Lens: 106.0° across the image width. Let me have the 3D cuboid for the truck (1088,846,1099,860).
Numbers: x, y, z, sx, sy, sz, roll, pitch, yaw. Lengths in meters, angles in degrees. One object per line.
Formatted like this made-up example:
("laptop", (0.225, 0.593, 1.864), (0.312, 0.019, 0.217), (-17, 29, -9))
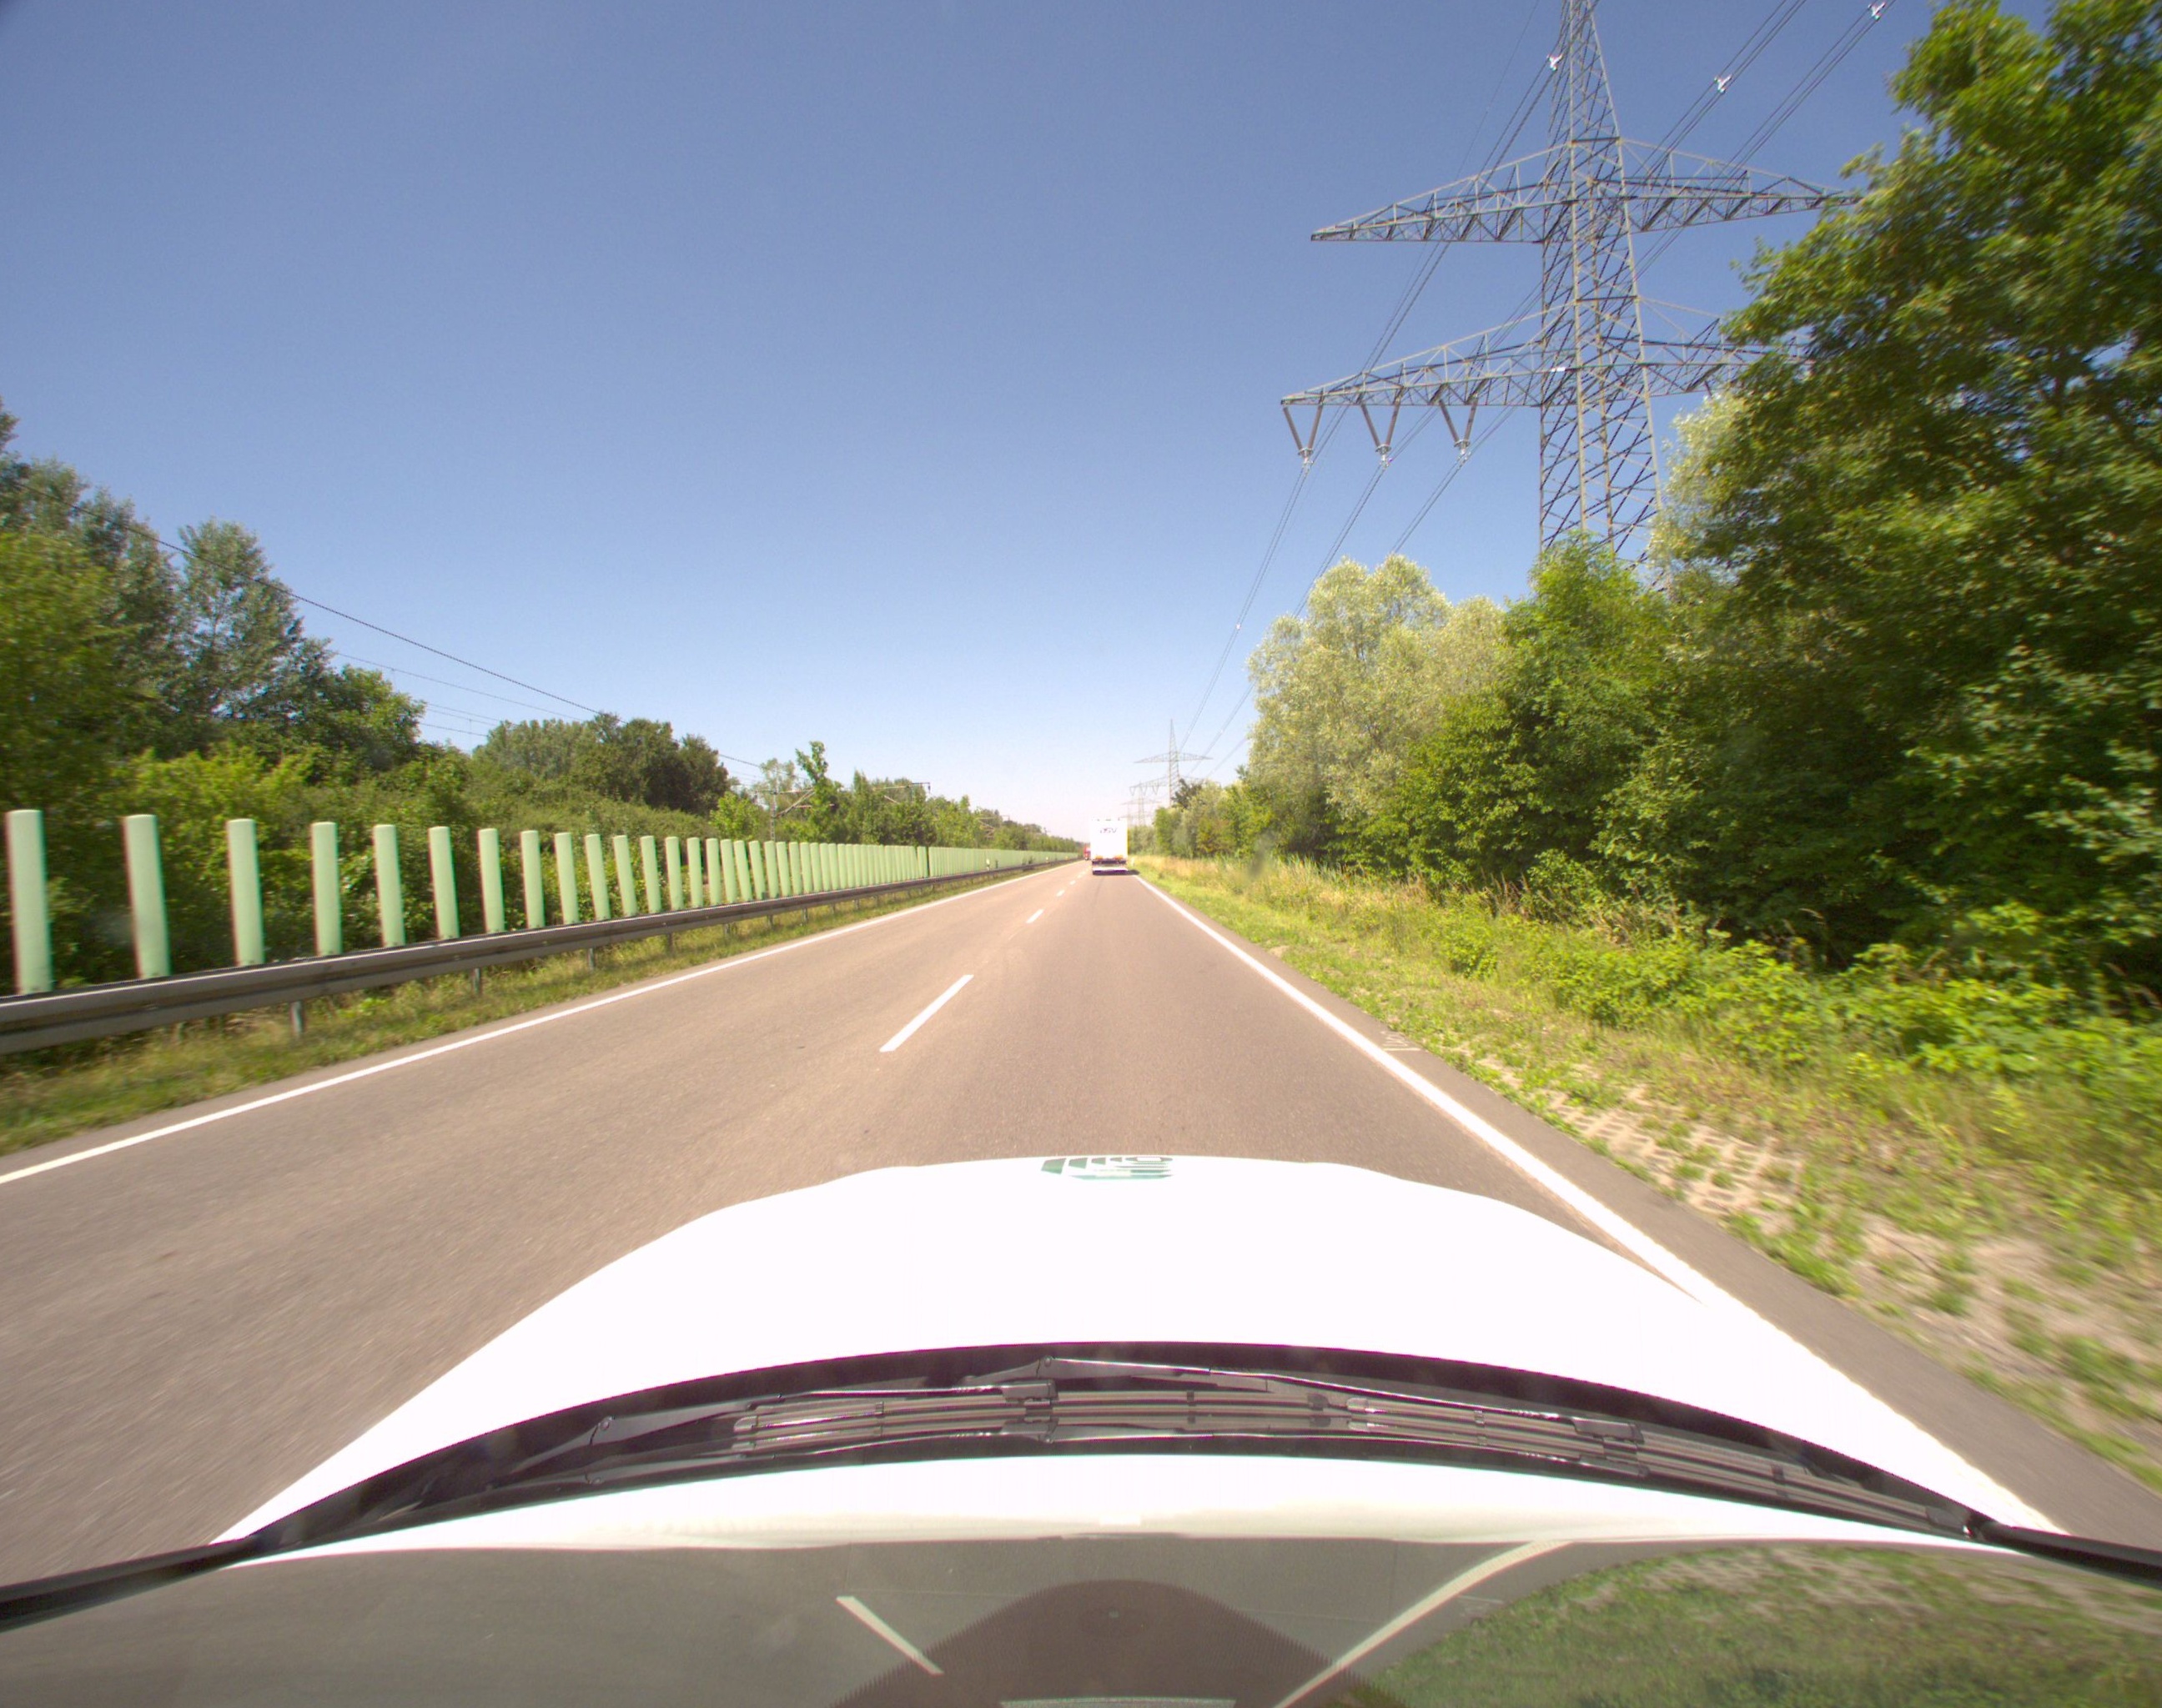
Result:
("truck", (3.228, -0.249, 213.828), (2.724, 3.599, 9.529), (-2, 0, 1))

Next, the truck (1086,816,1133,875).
("truck", (2.095, -0.584, 62.596), (3.181, 4.042, 12.009), (-2, 0, 1))
